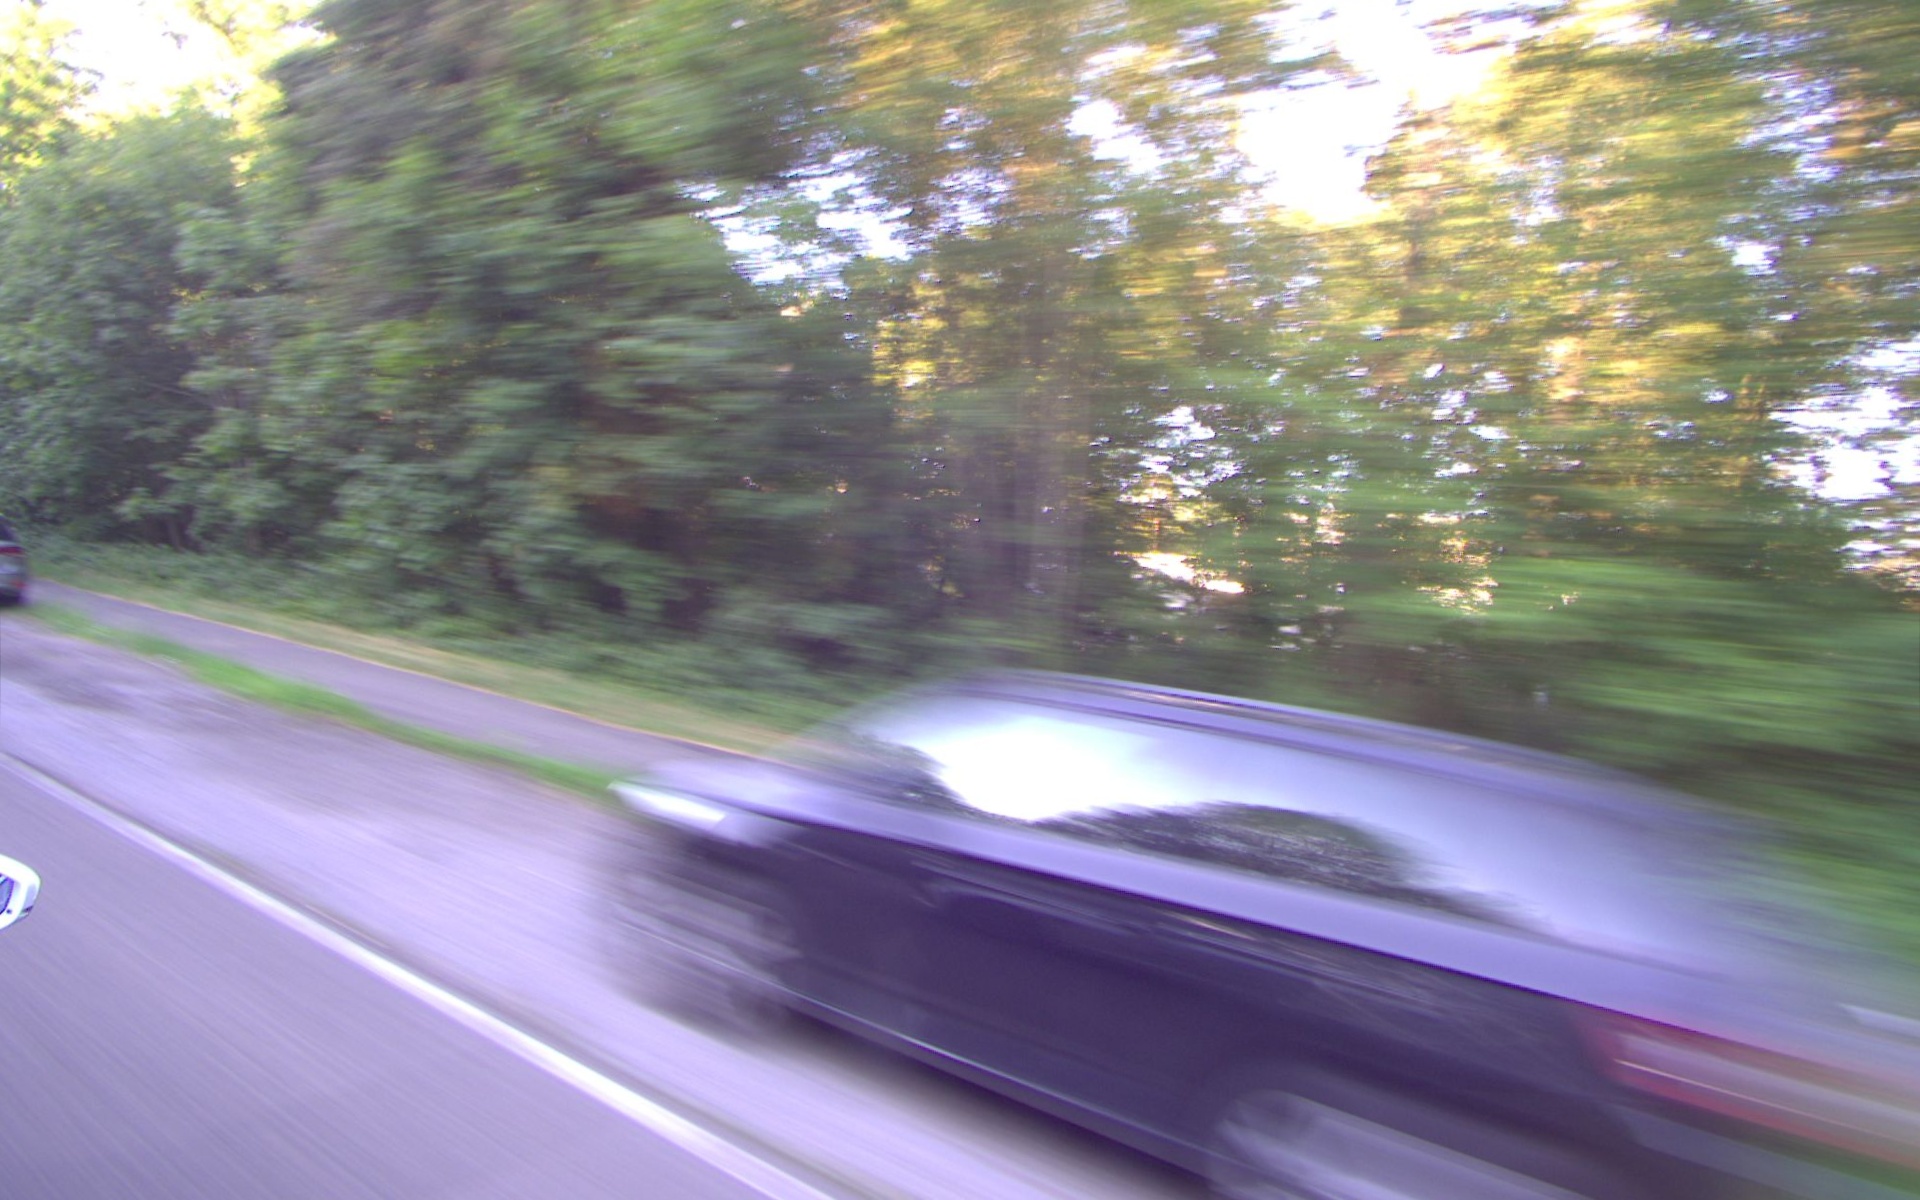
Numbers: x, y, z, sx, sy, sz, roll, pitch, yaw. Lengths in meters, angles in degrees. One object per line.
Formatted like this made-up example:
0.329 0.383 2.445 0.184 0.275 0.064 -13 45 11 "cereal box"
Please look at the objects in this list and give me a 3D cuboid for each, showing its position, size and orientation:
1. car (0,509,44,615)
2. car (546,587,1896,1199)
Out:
-15.173 -0.753 14.539 4.007 1.423 1.701 7 -1 31 "car"
0.508 0.939 3.659 3.878 1.421 1.667 6 -3 33 "car"
